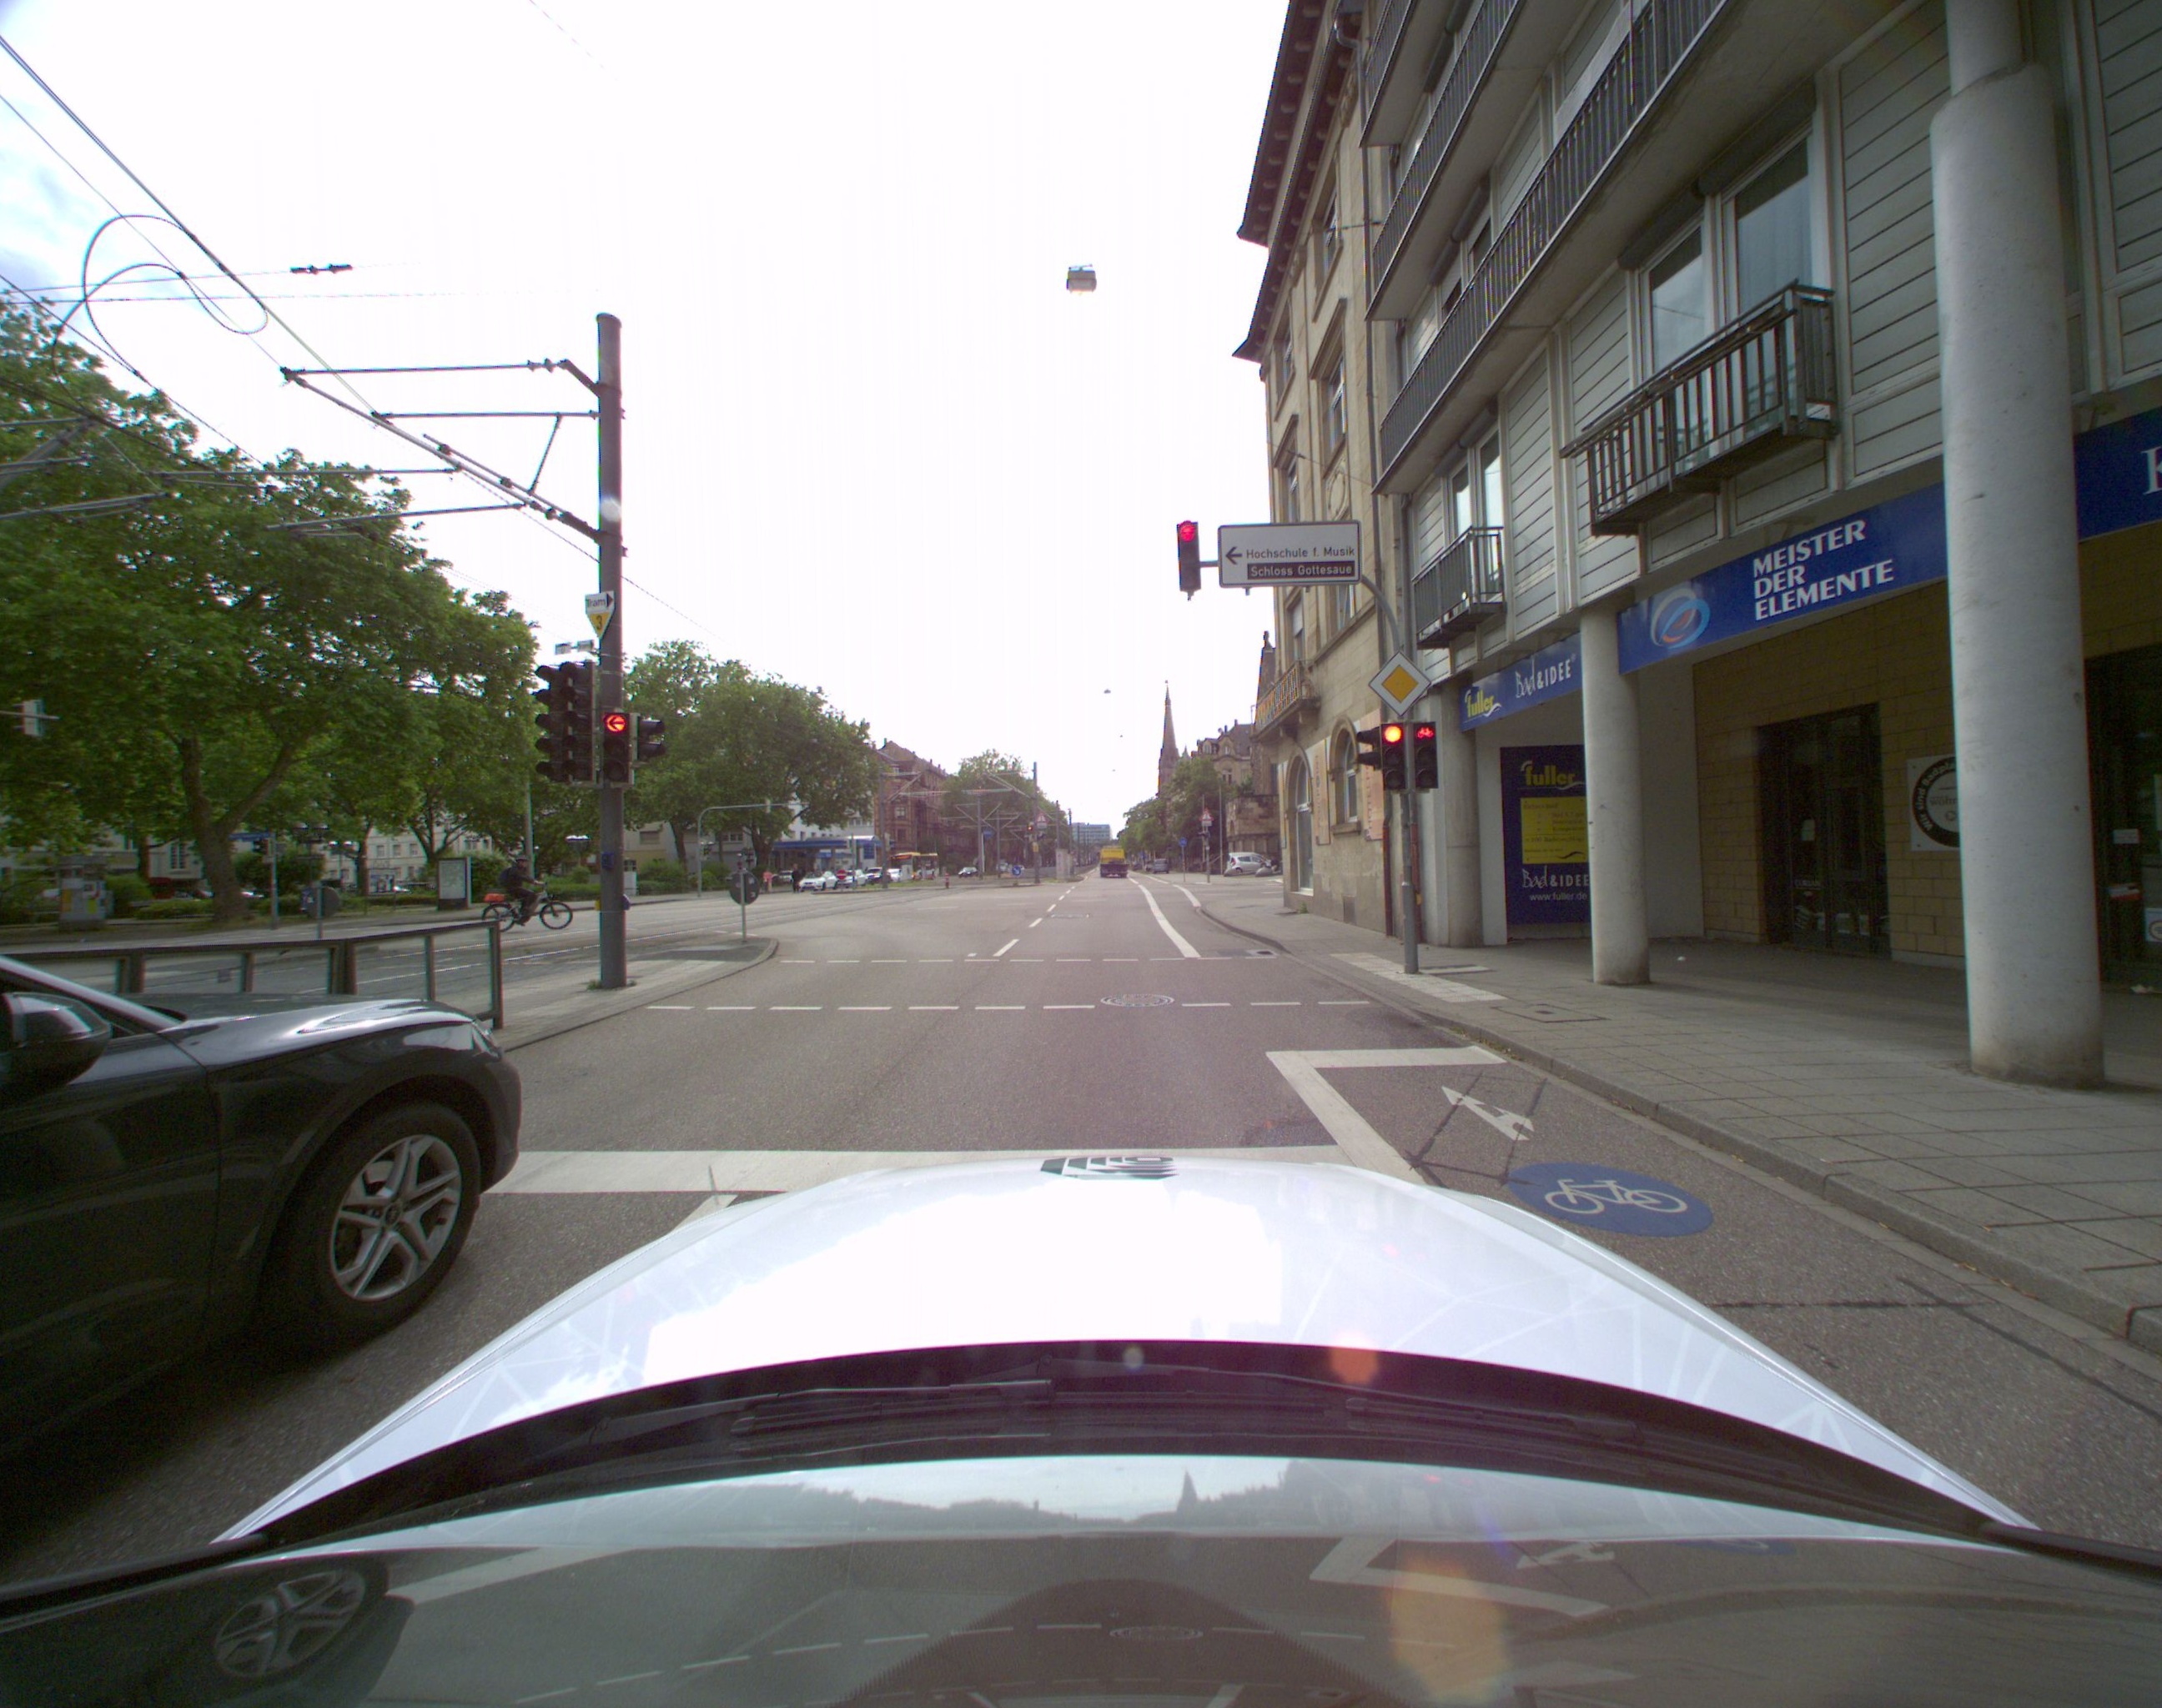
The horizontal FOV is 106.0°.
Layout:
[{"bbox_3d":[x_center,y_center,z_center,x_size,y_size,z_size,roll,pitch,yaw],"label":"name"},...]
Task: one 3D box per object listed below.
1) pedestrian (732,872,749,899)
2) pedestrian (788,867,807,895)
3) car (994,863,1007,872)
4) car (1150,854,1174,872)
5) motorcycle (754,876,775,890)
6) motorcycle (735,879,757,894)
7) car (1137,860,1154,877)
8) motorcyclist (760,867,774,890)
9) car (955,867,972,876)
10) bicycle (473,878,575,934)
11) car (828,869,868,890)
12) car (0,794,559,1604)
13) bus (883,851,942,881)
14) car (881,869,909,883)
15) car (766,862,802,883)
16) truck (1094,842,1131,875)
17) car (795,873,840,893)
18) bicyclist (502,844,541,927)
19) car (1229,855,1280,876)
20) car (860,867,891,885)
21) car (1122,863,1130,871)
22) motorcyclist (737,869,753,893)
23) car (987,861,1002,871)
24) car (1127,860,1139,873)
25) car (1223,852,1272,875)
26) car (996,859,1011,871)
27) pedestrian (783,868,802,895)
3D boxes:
[{"bbox_3d":[-21.215,1.952,50.763,0.680,1.690,0.743,0,-1,6],"label":"pedestrian"},{"bbox_3d":[-18.208,1.732,52.272,0.868,1.713,0.876,-2,-1,2],"label":"pedestrian"},{"bbox_3d":[-14.790,2.446,149.856,1.986,1.610,4.001,0,-1,2],"label":"car"},{"bbox_3d":[8.974,0.994,89.948,1.979,1.855,4.042,-1,-1,14],"label":"car"},{"bbox_3d":[-21.643,1.964,55.711,0.604,0.928,1.953,-2,-1,2],"label":"motorcycle"},{"bbox_3d":[-22.671,2.185,55.154,0.604,0.928,1.953,-2,-1,2],"label":"motorcycle"},{"bbox_3d":[7.892,1.704,99.609,1.985,2.014,4.004,0,-1,4],"label":"car"},{"bbox_3d":[-21.603,1.660,56.046,0.617,1.520,0.874,-2,-1,2],"label":"motorcyclist"},{"bbox_3d":[-16.581,2.476,115.067,1.649,1.321,3.641,0,-1,3],"label":"car"},{"bbox_3d":[-13.790,1.266,20.231,2.002,1.272,0.744,0,-1,-28],"label":"bicycle"},{"bbox_3d":[-18.843,2.063,66.072,1.986,1.594,4.001,0,-1,2],"label":"car"},{"bbox_3d":[-3.068,0.700,1.225,1.727,1.637,4.228,0,-1,2],"label":"car"},{"bbox_3d":[-18.299,1.306,89.713,3.217,3.035,12.323,0,0,4],"label":"bus"},{"bbox_3d":[-18.158,2.107,79.636,1.649,1.321,3.641,0,-1,3],"label":"car"},{"bbox_3d":[-29.749,1.816,81.802,1.986,2.014,4.001,-2,0,2],"label":"car"},{"bbox_3d":[2.782,0.428,74.041,3.044,2.769,9.816,-2,0,1],"label":"truck"},{"bbox_3d":[-19.175,2.082,59.368,1.739,1.321,4.079,0,0,3],"label":"car"},{"bbox_3d":[-13.881,0.765,20.215,0.696,2.014,0.776,0,-1,-27],"label":"bicyclist"},{"bbox_3d":[13.750,0.913,64.776,3.699,1.563,2.001,0,-1,2],"label":"car"},{"bbox_3d":[-18.329,1.936,72.715,1.649,1.478,3.641,0,-1,3],"label":"car"},{"bbox_3d":[11.912,3.379,216.783,1.986,2.014,4.001,0,-1,2],"label":"car"},{"bbox_3d":[-22.686,1.815,54.986,0.617,1.520,0.874,-2,-1,2],"label":"motorcyclist"},{"bbox_3d":[-15.052,2.070,142.087,1.986,1.610,4.001,0,-1,2],"label":"car"},{"bbox_3d":[8.694,2.061,136.130,1.986,2.014,4.001,0,-1,2],"label":"car"},{"bbox_3d":[13.927,0.796,68.234,3.699,1.855,2.001,0,-1,2],"label":"car"},{"bbox_3d":[-13.505,1.952,142.103,1.986,2.014,4.001,0,-1,2],"label":"car"},{"bbox_3d":[-18.239,1.727,51.471,0.863,1.713,0.692,-2,-1,5],"label":"pedestrian"}]
